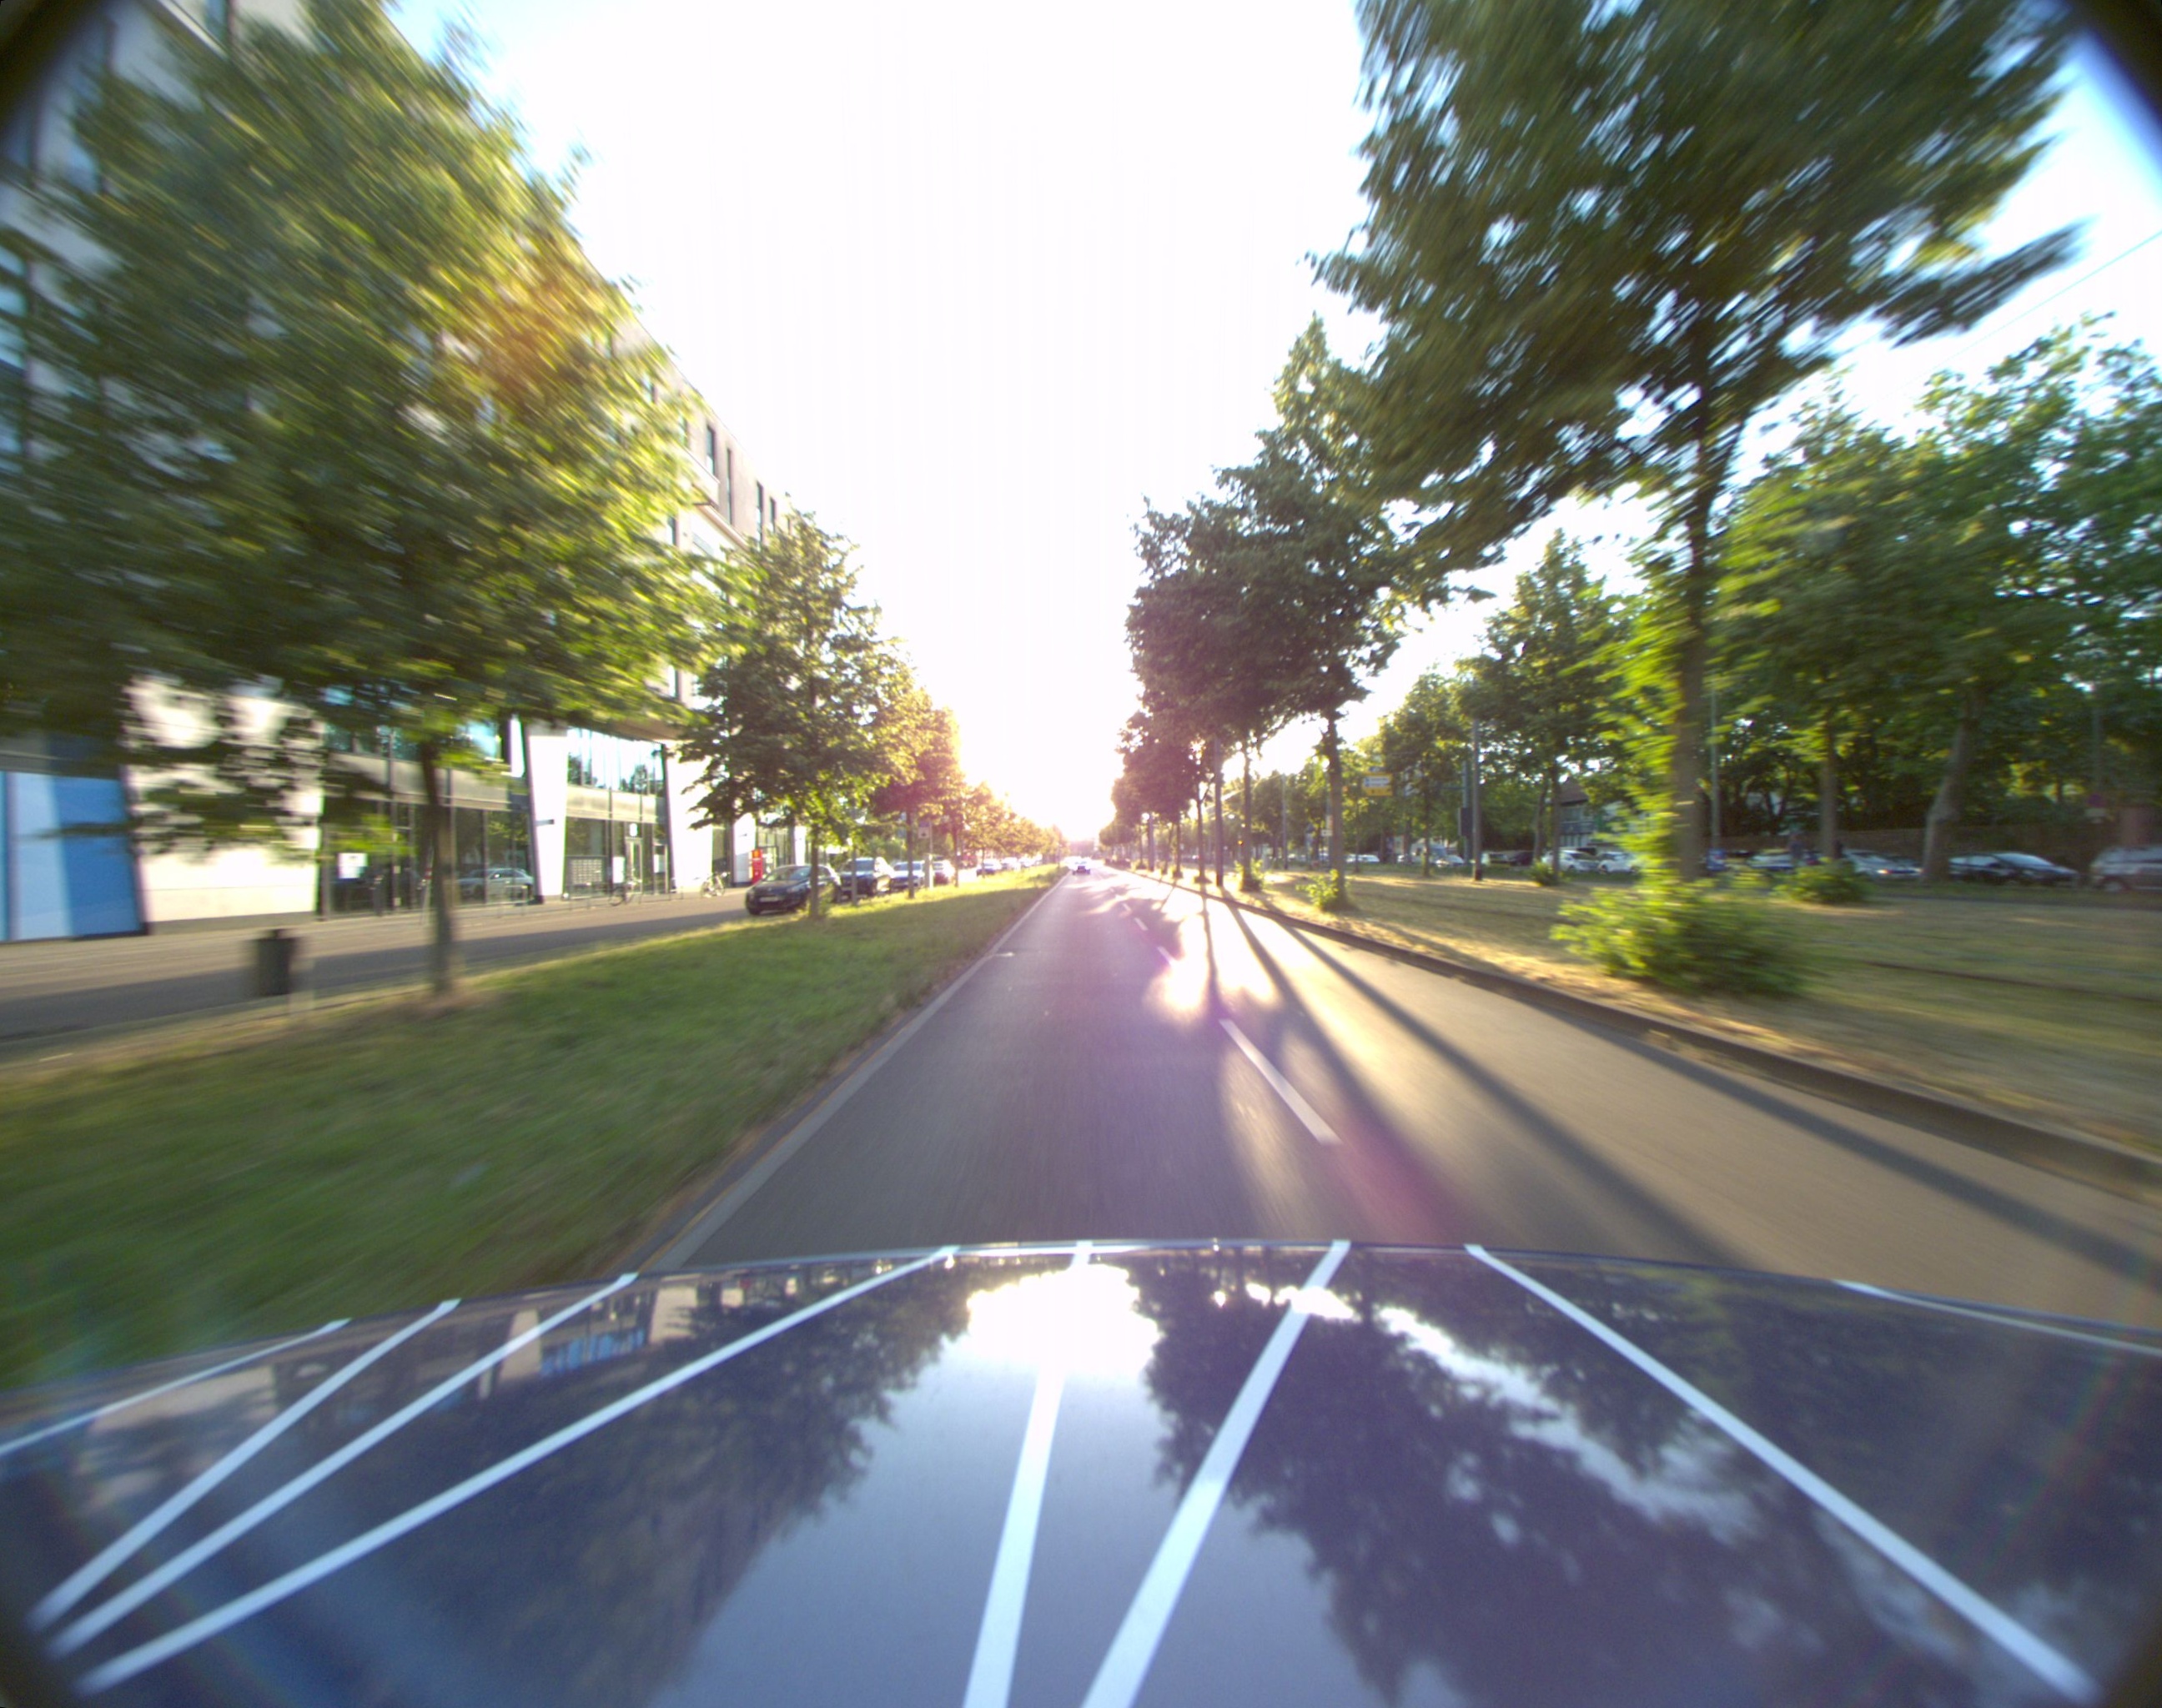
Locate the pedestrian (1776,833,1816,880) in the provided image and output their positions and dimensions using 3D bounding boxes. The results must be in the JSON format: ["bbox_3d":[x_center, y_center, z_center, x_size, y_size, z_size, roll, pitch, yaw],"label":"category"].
[{"bbox_3d":[26.922,0.106,28.626,0.695,1.732,0.866,-1,0,-2],"label":"pedestrian"}]

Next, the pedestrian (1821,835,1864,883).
[{"bbox_3d":[28.407,0.169,28.361,0.695,1.748,0.865,-1,0,-7],"label":"pedestrian"}]

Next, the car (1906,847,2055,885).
[{"bbox_3d":[38.878,0.500,33.003,1.997,1.477,4.002,-1,0,7],"label":"car"}]

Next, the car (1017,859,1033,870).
[{"bbox_3d":[-8.415,1.588,114.711,1.924,1.492,5.411,-1,0,0],"label":"car"}]

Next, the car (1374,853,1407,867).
[{"bbox_3d":[33.430,0.638,82.237,1.998,1.491,4.099,-1,0,2],"label":"car"}]

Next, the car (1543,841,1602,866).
[{"bbox_3d":[41.861,-0.046,64.858,1.998,2.002,5.060,-1,0,4],"label":"car"}]

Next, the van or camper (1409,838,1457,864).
[{"bbox_3d":[33.638,-0.259,72.720,2.289,2.351,5.785,-1,0,5],"label":"van or camper"}]

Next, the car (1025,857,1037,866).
[{"bbox_3d":[-8.449,1.312,129.329,1.813,1.492,4.479,-1,0,0],"label":"car"}]

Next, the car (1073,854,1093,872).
[{"bbox_3d":[0.178,0.870,73.990,1.828,1.625,4.000,-1,0,0],"label":"car"}]

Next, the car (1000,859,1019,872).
[{"bbox_3d":[-8.152,1.285,87.255,1.754,1.390,4.000,-2,0,-1],"label":"car"}]

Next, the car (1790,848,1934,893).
[{"bbox_3d":[32.579,0.657,31.896,1.998,1.739,4.162,-1,0,5],"label":"car"}]

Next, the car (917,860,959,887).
[{"bbox_3d":[-8.588,1.150,45.956,1.813,1.492,3.959,-1,0,0],"label":"car"}]

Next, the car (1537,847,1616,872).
[{"bbox_3d":[30.903,0.334,47.565,1.998,1.490,4.557,-1,0,1],"label":"car"}]

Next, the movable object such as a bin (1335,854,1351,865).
[{"bbox_3d":[34.926,0.768,101.168,1.556,1.364,1.724,-1,0,2],"label":"movable object such as a bin"}]

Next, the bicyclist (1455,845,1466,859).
[{"bbox_3d":[40.960,-0.181,82.083,0.730,1.524,1.086,-1,0,6],"label":"bicyclist"}]

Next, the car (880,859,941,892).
[{"bbox_3d":[-8.451,1.043,38.129,1.926,1.492,5.010,-1,0,0],"label":"car"}]

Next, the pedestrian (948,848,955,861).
[{"bbox_3d":[-16.357,0.099,96.180,0.696,1.645,1.078,-1,0,0],"label":"pedestrian"}]

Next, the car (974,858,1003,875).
[{"bbox_3d":[-8.397,1.093,69.093,1.812,1.492,4.370,0,0,4],"label":"car"}]

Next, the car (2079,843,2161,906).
[{"bbox_3d":[31.055,0.564,20.868,1.998,1.739,4.162,-1,0,5],"label":"car"}]

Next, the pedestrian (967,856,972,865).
[{"bbox_3d":[-17.379,1.039,118.408,0.745,1.359,0.770,-1,0,-11],"label":"pedestrian"}]

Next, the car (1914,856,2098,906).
[{"bbox_3d":[31.374,0.849,25.965,1.807,1.551,3.839,-1,0,6],"label":"car"}]

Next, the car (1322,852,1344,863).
[{"bbox_3d":[36.103,0.541,108.938,1.998,1.440,4.001,-1,0,2],"label":"car"}]

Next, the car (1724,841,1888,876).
[{"bbox_3d":[29.977,0.195,31.711,1.998,1.307,5.143,-1,0,1],"label":"car"}]

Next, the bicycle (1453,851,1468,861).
[{"bbox_3d":[40.963,0.187,82.031,0.732,1.084,2.017,-1,0,6],"label":"bicycle"}]

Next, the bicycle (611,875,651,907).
[{"bbox_3d":[-15.796,1.293,26.714,0.534,1.053,1.612,-1,0,-5],"label":"bicycle"}]

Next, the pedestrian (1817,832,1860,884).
[{"bbox_3d":[27.674,0.139,27.762,0.695,1.859,0.865,-1,0,-7],"label":"pedestrian"}]

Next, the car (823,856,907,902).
[{"bbox_3d":[-8.608,0.958,30.817,1.958,1.614,4.821,-3,0,0],"label":"car"}]

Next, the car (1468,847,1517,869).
[{"bbox_3d":[32.010,0.323,59.195,1.997,1.630,4.002,-1,0,7],"label":"car"}]

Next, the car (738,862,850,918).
[{"bbox_3d":[-8.696,1.028,23.434,1.728,1.492,4.233,-2,0,1],"label":"car"}]

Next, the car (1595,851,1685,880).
[{"bbox_3d":[30.905,0.602,42.167,1.904,1.490,4.307,-1,0,1],"label":"car"}]

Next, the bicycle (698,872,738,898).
[{"bbox_3d":[-15.450,1.295,32.375,0.621,1.027,2.261,-1,0,-1],"label":"bicycle"}]
